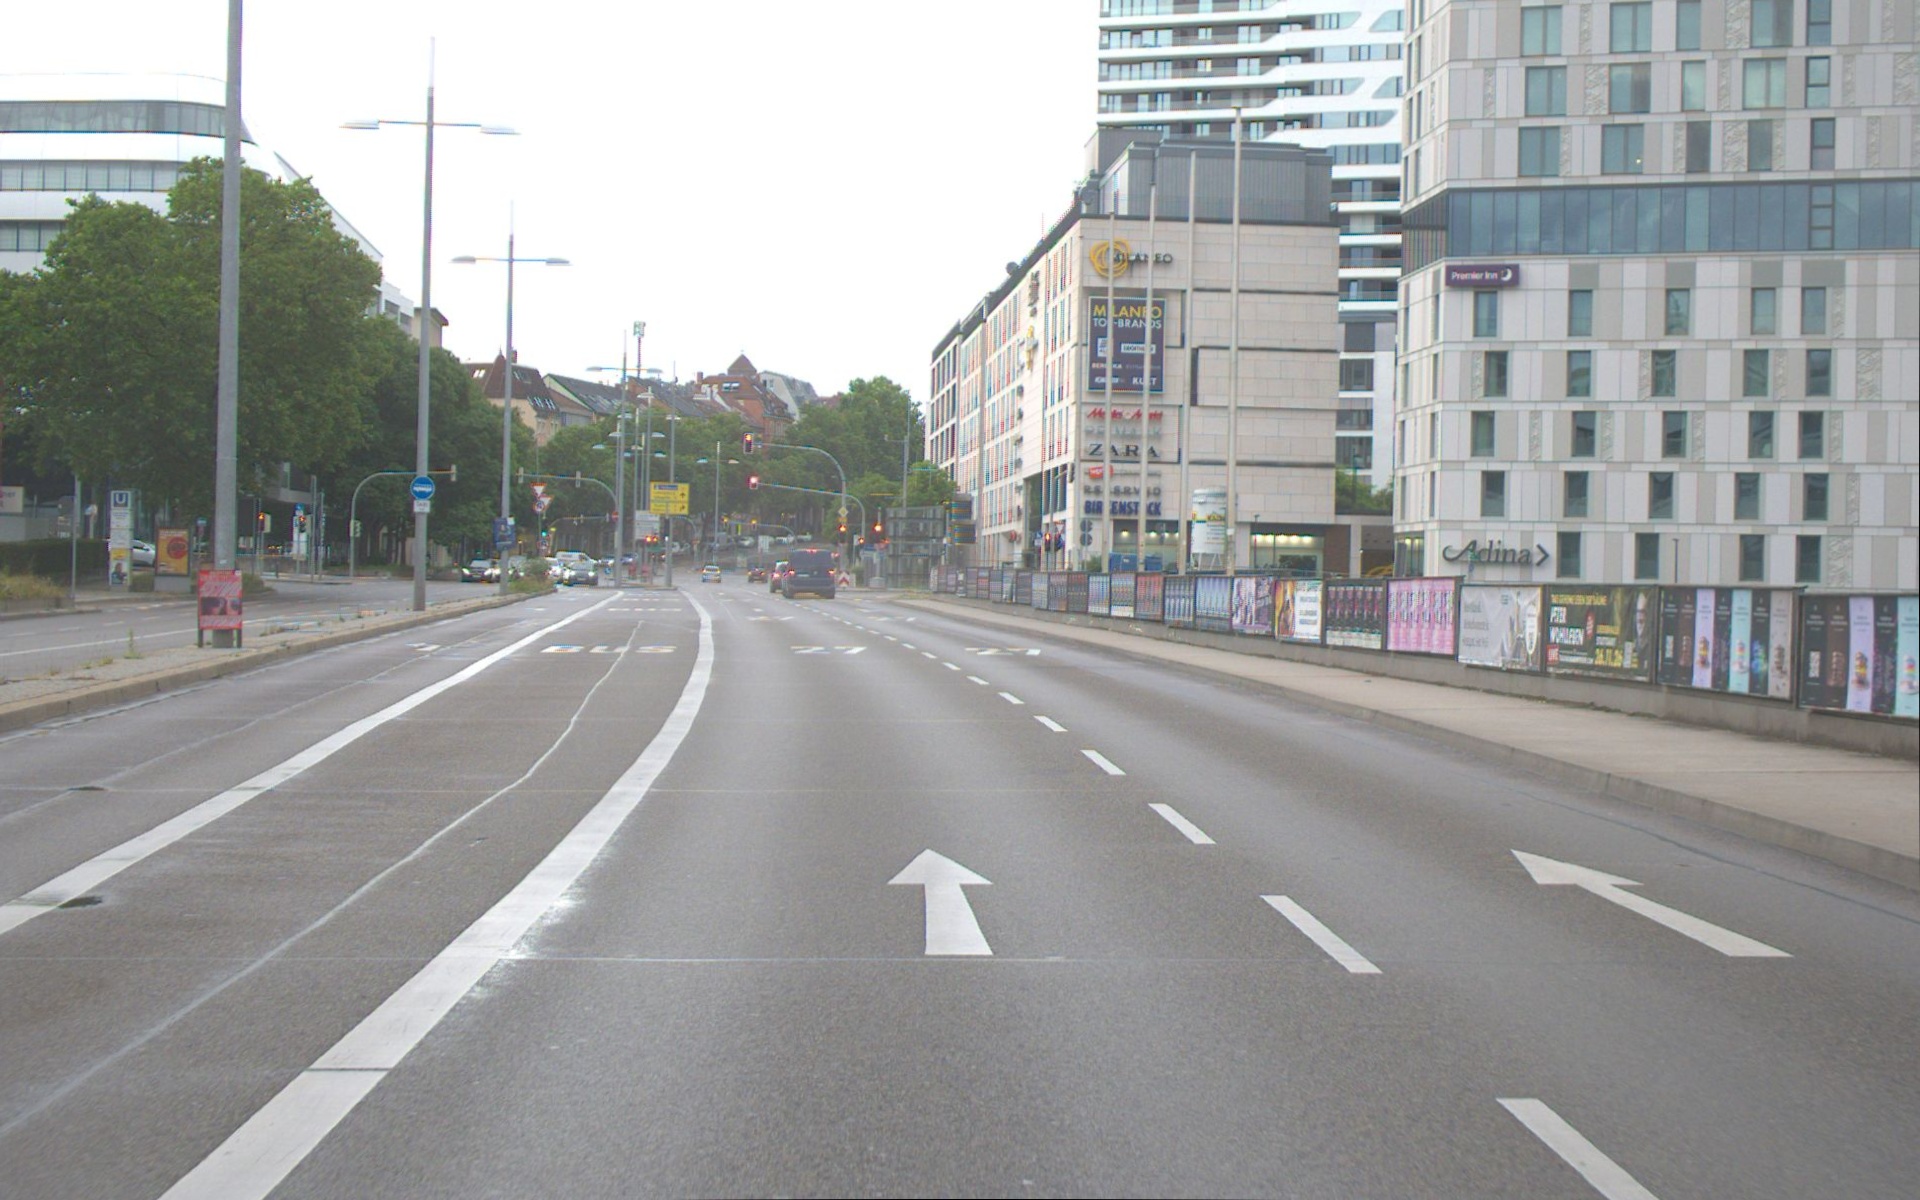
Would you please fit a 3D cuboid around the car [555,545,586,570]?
[{"bbox_3d":[-23.585,-2.566,208.148,1.743,1.439,3.395,1,0,-4],"label":"car"}]

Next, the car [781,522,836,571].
[{"bbox_3d":[-6.136,-2.186,138.593,2.032,1.875,5.043,-2,2,-4],"label":"car"}]

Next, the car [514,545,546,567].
[{"bbox_3d":[-26.129,-2.683,209.143,1.743,1.253,3.540,1,1,-4],"label":"car"}]

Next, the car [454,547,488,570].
[{"bbox_3d":[-29.669,-2.513,208.523,1.743,1.324,4.226,1,0,-4],"label":"car"}]

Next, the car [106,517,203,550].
[{"bbox_3d":[-42.072,-3.460,179.566,4.504,1.626,1.894,1,0,12],"label":"car"}]
